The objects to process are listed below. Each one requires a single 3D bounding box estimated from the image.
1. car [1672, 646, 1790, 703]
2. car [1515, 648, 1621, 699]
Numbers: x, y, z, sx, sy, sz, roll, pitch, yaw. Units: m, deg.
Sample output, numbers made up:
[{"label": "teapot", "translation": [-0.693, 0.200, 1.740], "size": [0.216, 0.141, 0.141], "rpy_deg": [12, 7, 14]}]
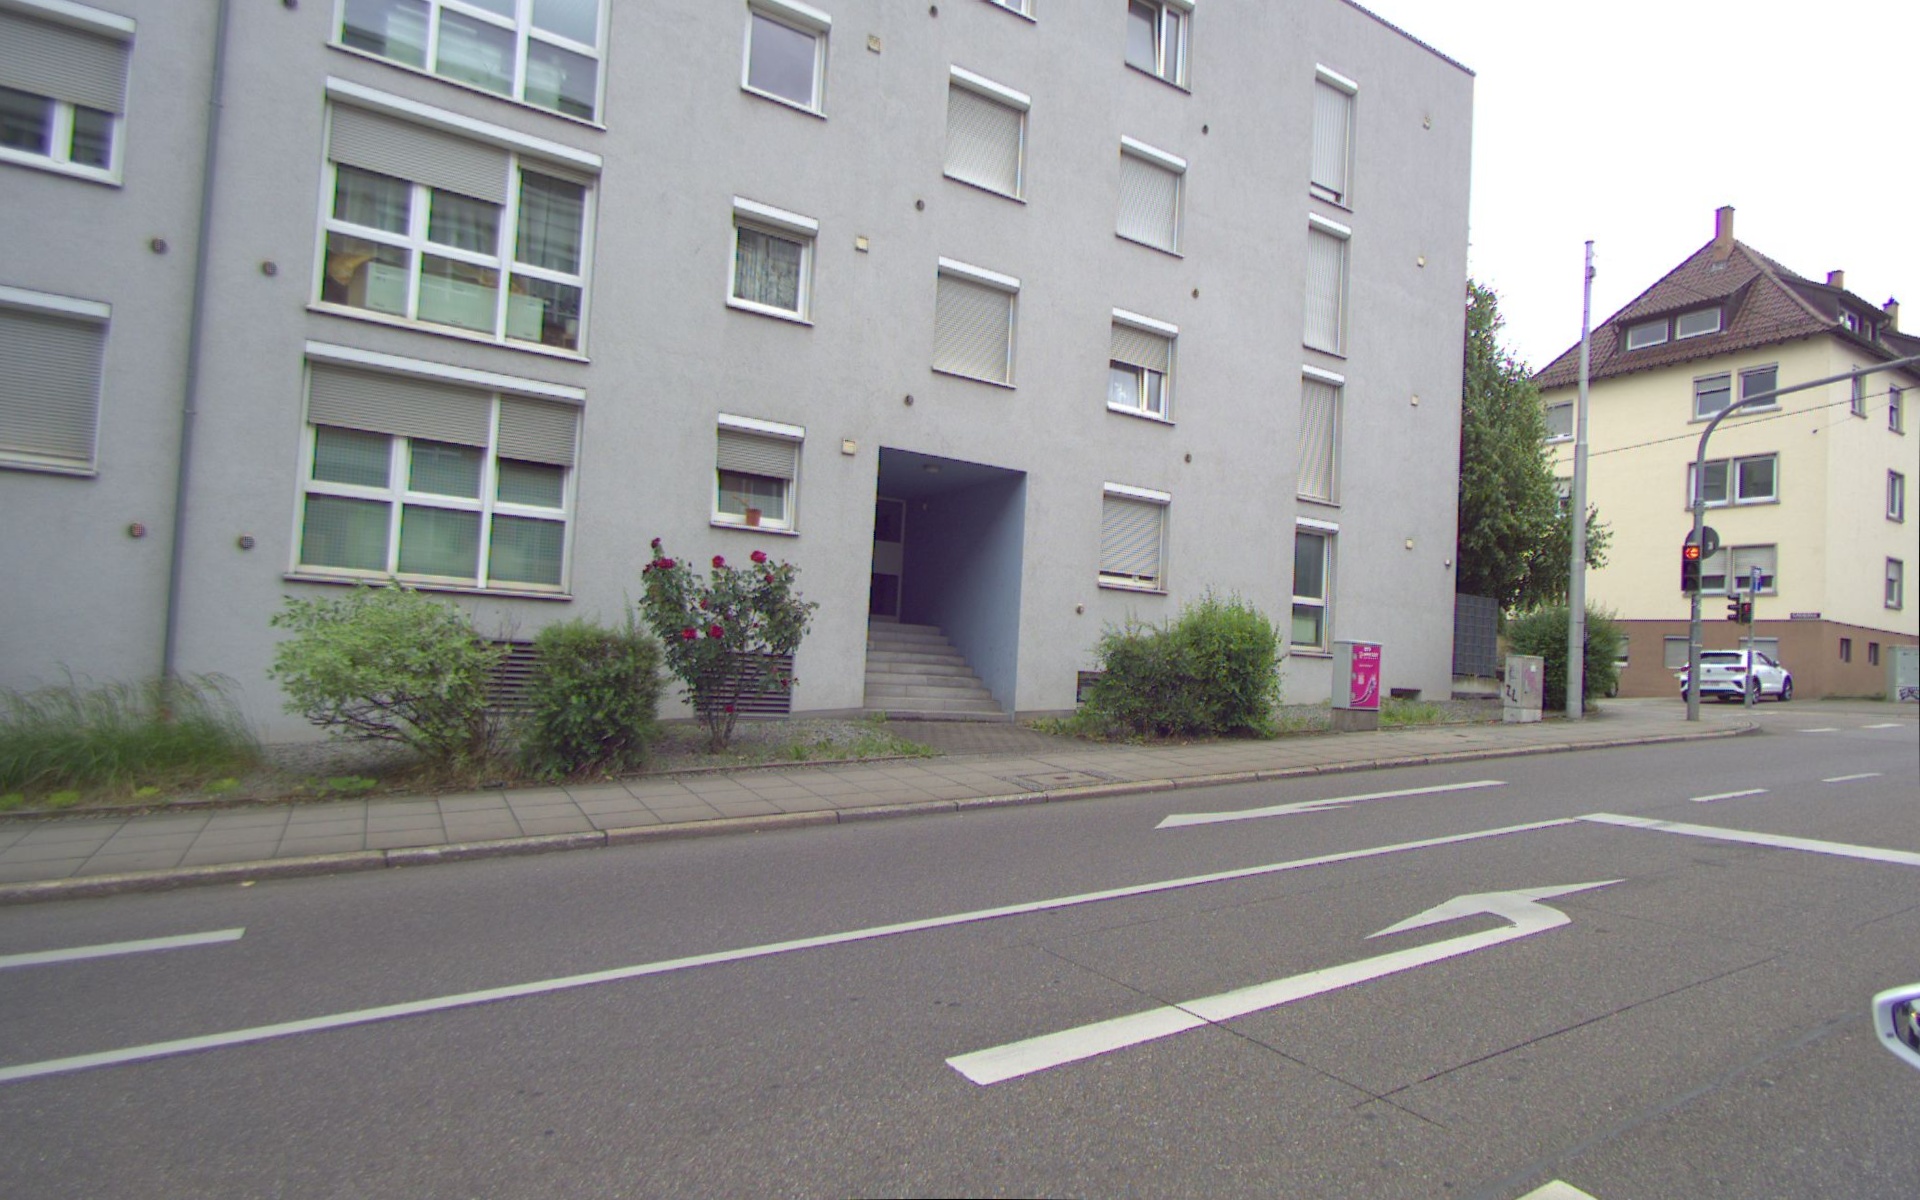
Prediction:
[{"label": "car", "translation": [23.043, 2.199, 30.004], "size": [3.727, 1.575, 1.681], "rpy_deg": [1, -4, -34]}, {"label": "car", "translation": [20.930, 2.485, 34.539], "size": [3.727, 1.629, 1.681], "rpy_deg": [1, -4, -34]}]
